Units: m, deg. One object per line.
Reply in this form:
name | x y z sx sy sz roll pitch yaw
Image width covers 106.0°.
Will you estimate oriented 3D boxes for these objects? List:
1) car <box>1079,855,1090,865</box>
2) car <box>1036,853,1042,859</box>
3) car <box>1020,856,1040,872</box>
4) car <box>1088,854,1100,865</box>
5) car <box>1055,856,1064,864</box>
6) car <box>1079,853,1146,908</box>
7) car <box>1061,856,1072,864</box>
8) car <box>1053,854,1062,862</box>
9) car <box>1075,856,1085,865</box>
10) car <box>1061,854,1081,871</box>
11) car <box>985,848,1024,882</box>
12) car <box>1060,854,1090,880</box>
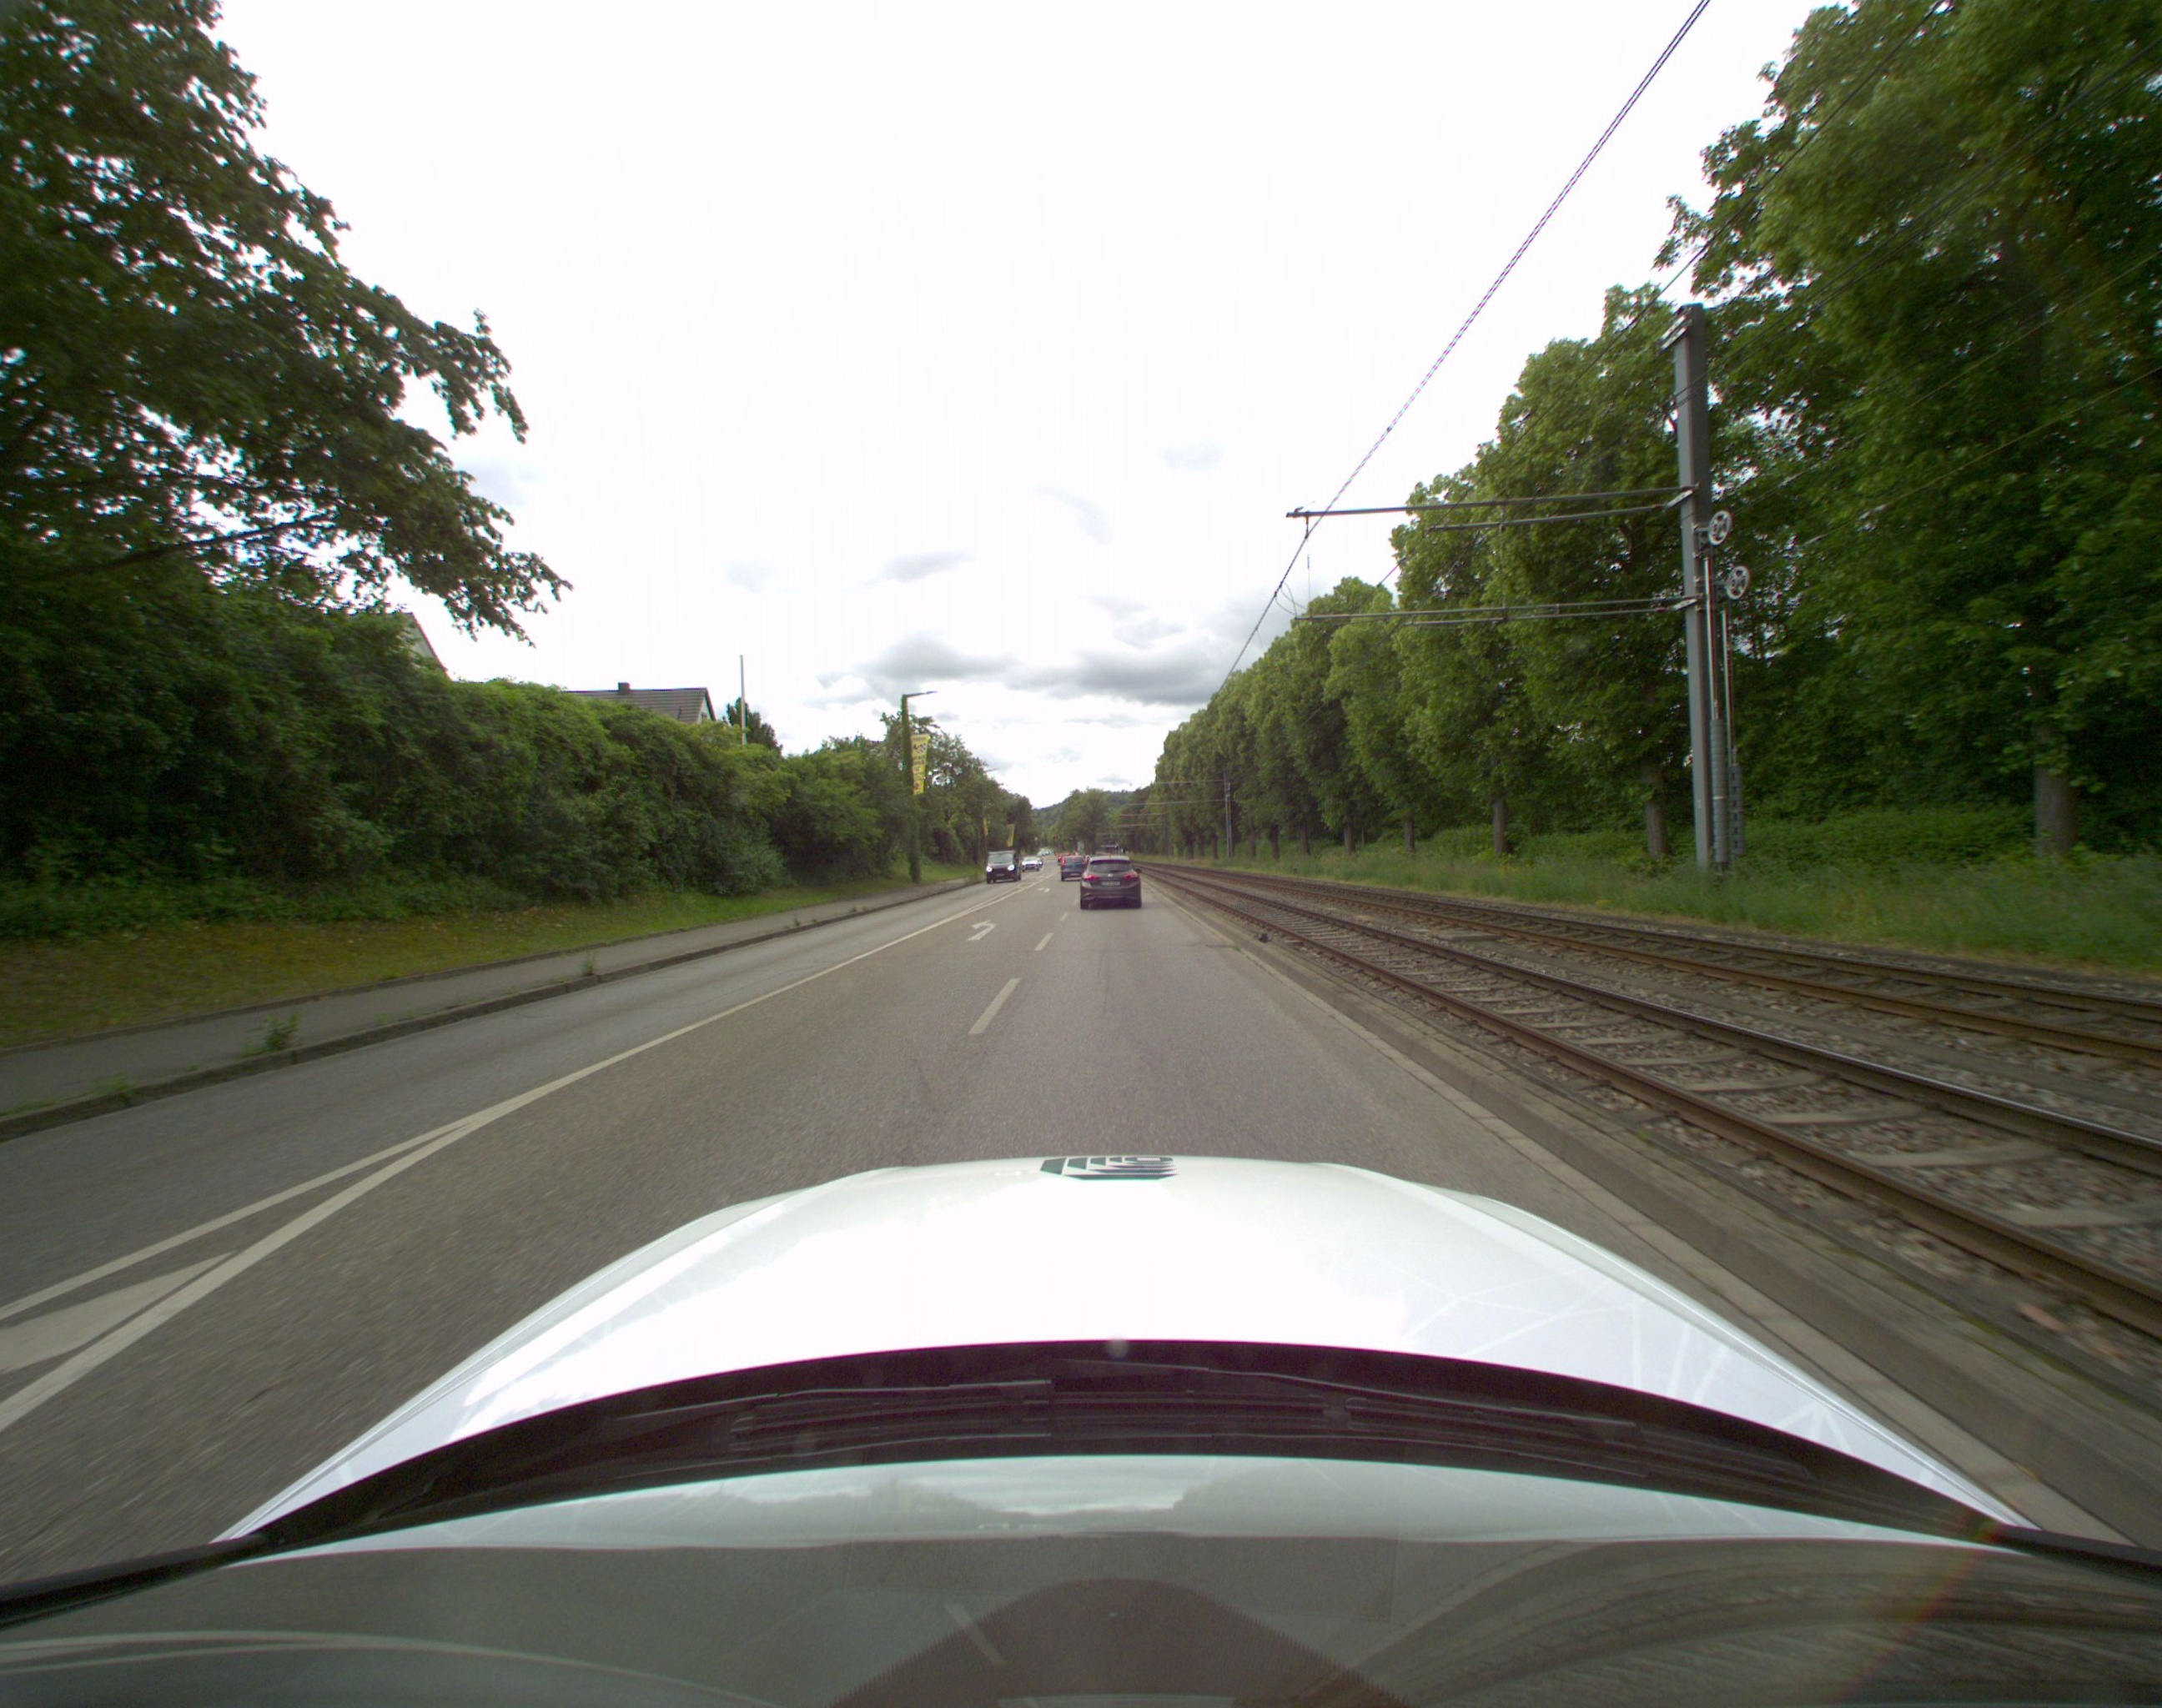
car | 0.621 1.008 131.421 1.709 1.550 4.000 -1 -1 0
car | -12.977 0.630 252.910 1.710 1.760 3.997 -1 -1 -1
car | -5.628 1.088 90.621 1.836 1.620 4.158 -4 0 0
car | 1.851 0.784 116.005 1.709 1.550 4.000 -1 -1 0
car | -4.637 1.236 174.179 1.693 1.714 4.002 -1 0 2
car | 0.954 0.747 24.688 1.843 1.493 4.002 -1 0 2
car | -2.658 1.064 147.614 1.787 1.510 4.002 -1 0 2
car | -5.226 0.885 183.938 1.693 1.714 4.002 -1 0 2
car | -0.150 1.215 154.240 1.709 1.550 4.000 -1 -1 0
car | -0.927 0.787 76.619 1.694 1.443 4.000 -1 0 0
car | -5.033 0.724 54.352 1.987 2.036 5.115 -4 0 0
car | -0.342 0.771 49.268 1.694 1.443 3.999 -1 0 0
